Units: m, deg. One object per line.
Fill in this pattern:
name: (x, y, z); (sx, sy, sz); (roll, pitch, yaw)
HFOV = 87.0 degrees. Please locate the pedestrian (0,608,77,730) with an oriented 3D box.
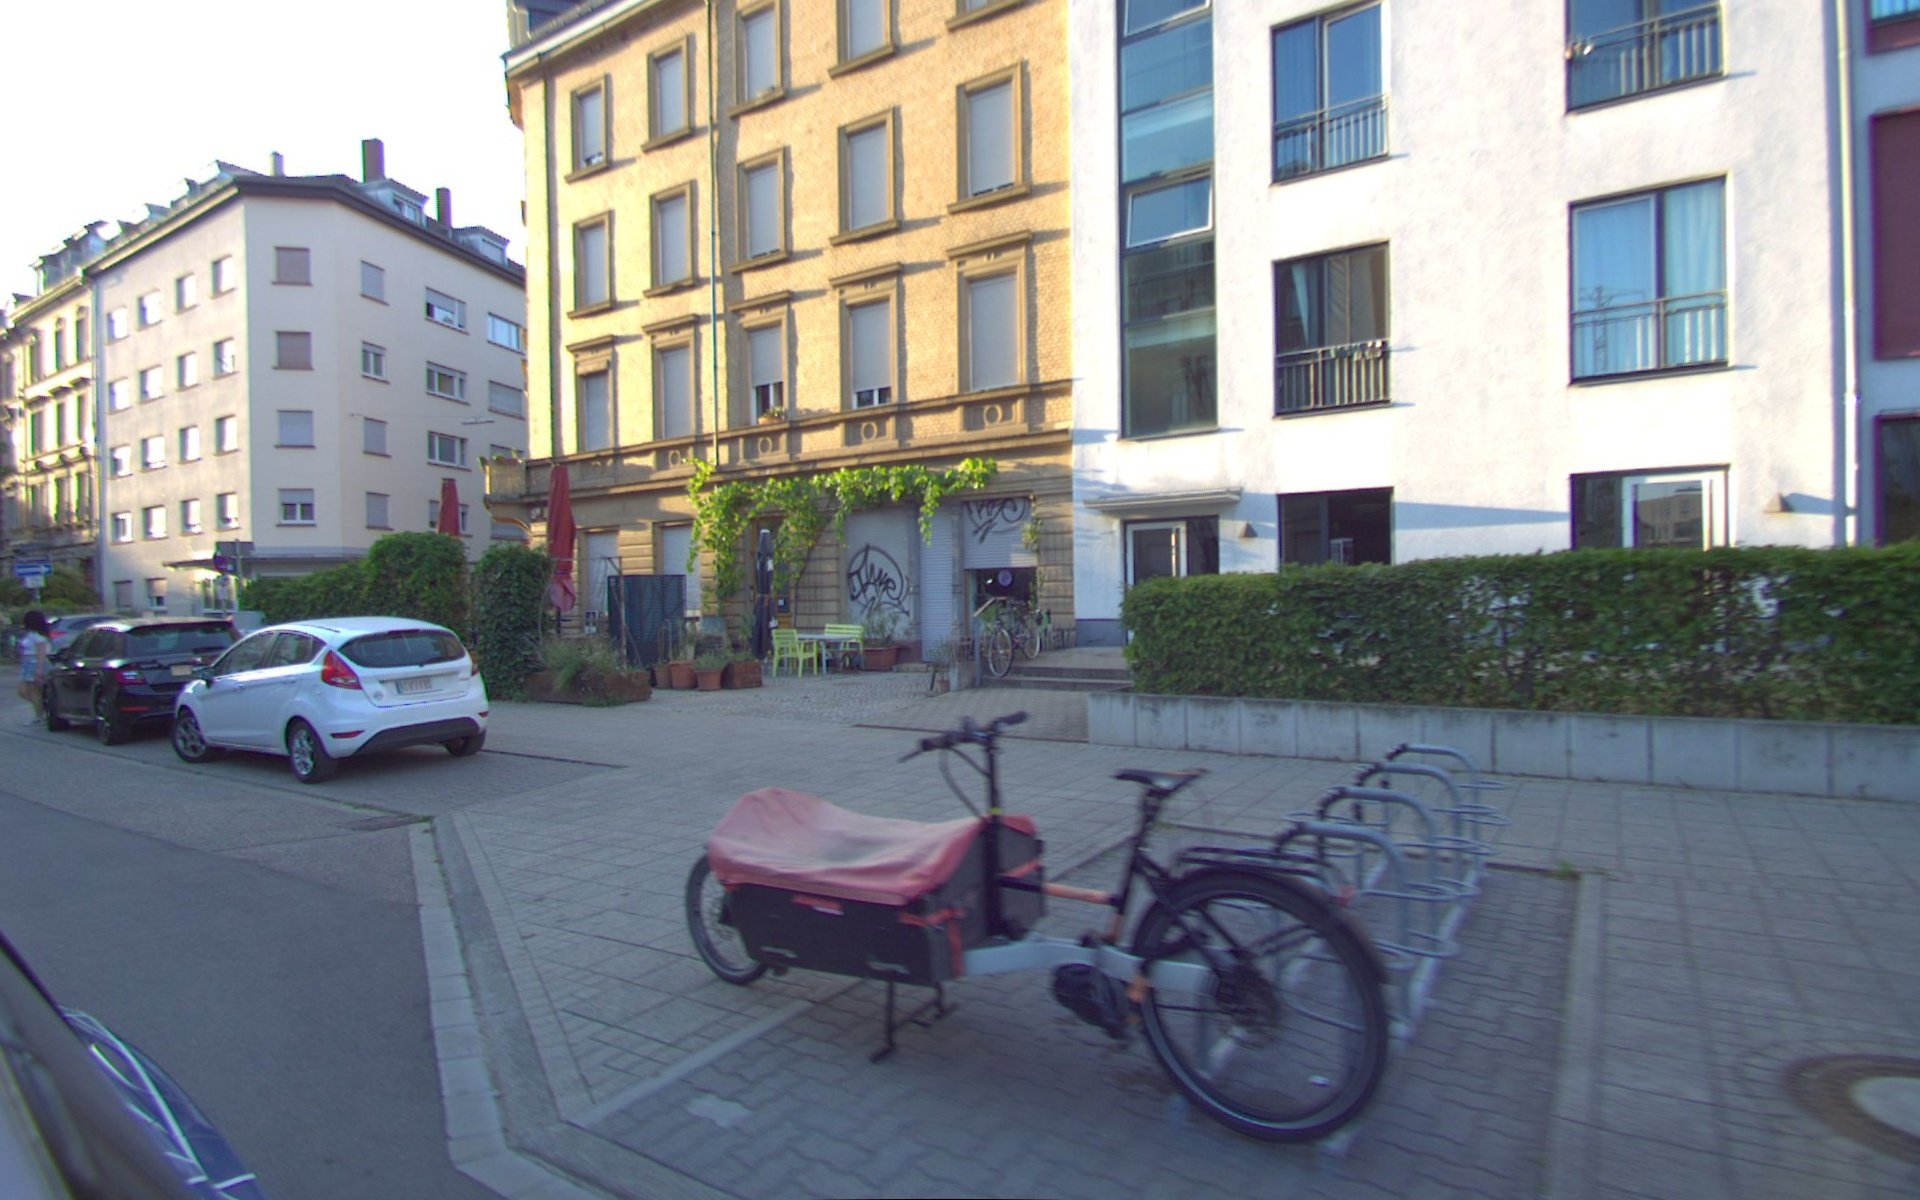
pedestrian: (-13.001, 0.943, 14.112); (0.706, 1.630, 0.781); (-1, 0, 21)

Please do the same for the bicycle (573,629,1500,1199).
bicycle: (0.008, 0.727, 3.151); (2.859, 1.230, 0.801); (-1, 0, 36)

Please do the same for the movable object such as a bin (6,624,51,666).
movable object such as a bin: (-31.741, 1.521, 34.488); (1.395, 1.362, 0.859); (-1, 0, 35)

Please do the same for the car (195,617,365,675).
car: (-20.812, 1.346, 31.055); (4.012, 1.520, 1.975); (-2, 0, -44)

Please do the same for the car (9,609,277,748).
car: (-10.687, 0.925, 13.174); (3.834, 1.546, 1.689); (-1, -1, 34)

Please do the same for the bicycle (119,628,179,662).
bicycle: (-29.086, 1.598, 36.319); (0.498, 1.100, 1.621); (-1, 0, 27)

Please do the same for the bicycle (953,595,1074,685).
bicycle: (0.788, 0.523, 14.180); (0.810, 1.150, 1.899); (-1, 0, 34)

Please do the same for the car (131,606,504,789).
car: (-6.662, 0.877, 10.389); (4.003, 1.542, 1.639); (-1, 0, 31)

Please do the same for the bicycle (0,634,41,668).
bicycle: (-29.967, 1.611, 32.036); (1.923, 1.033, 0.682); (-1, 0, 28)

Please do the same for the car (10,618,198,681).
car: (-22.952, 1.301, 27.240); (1.839, 1.519, 3.479); (-2, -1, 33)
